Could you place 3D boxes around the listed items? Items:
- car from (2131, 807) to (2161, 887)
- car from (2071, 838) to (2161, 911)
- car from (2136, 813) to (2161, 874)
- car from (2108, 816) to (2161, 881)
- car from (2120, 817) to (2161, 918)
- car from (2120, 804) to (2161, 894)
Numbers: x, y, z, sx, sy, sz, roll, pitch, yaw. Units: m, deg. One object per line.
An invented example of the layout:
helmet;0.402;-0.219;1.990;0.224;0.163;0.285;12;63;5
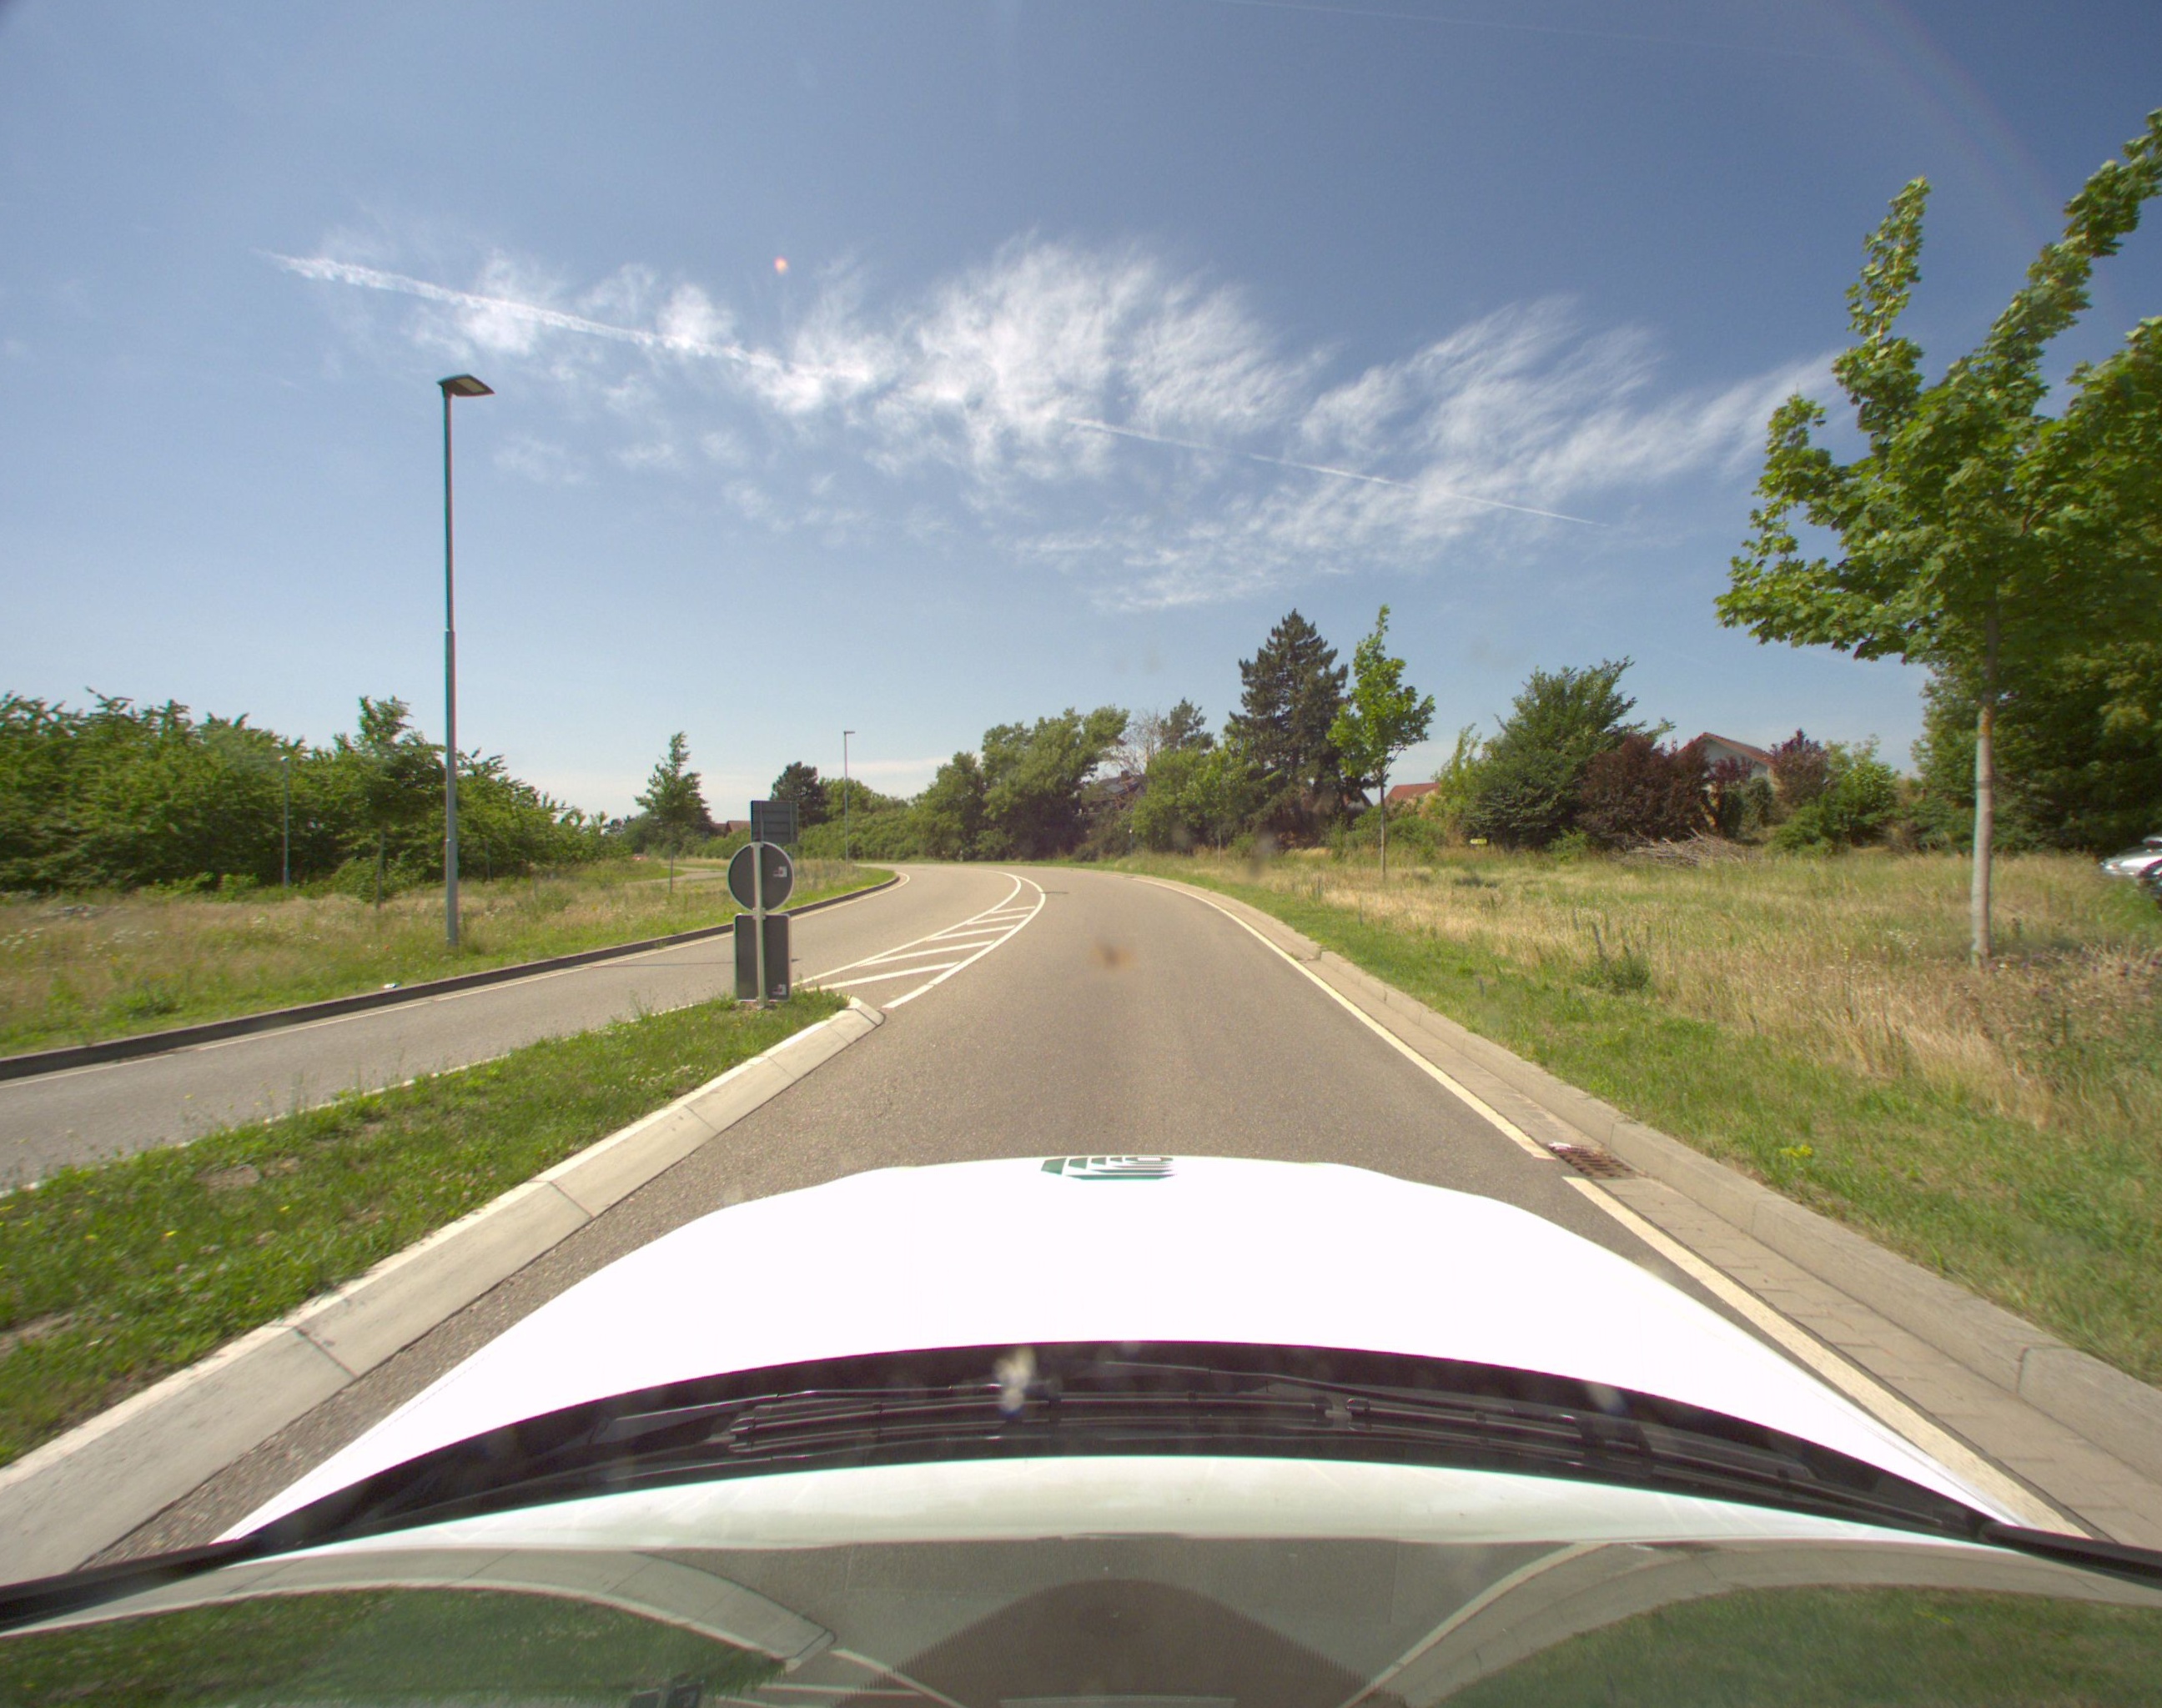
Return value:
car;21.229;-0.103;13.922;1.783;1.442;3.921;-1;2;-39
car;22.726;0.420;16.115;1.783;1.442;3.920;-1;2;-41
car;27.380;-0.227;18.583;1.783;1.442;3.920;-1;2;-40
car;25.327;-0.109;17.525;1.783;1.442;3.920;-1;2;-40
car;17.206;0.212;10.942;1.783;1.442;3.921;-1;2;-39
car;19.108;-0.054;12.441;1.783;1.442;3.921;-1;2;-39
